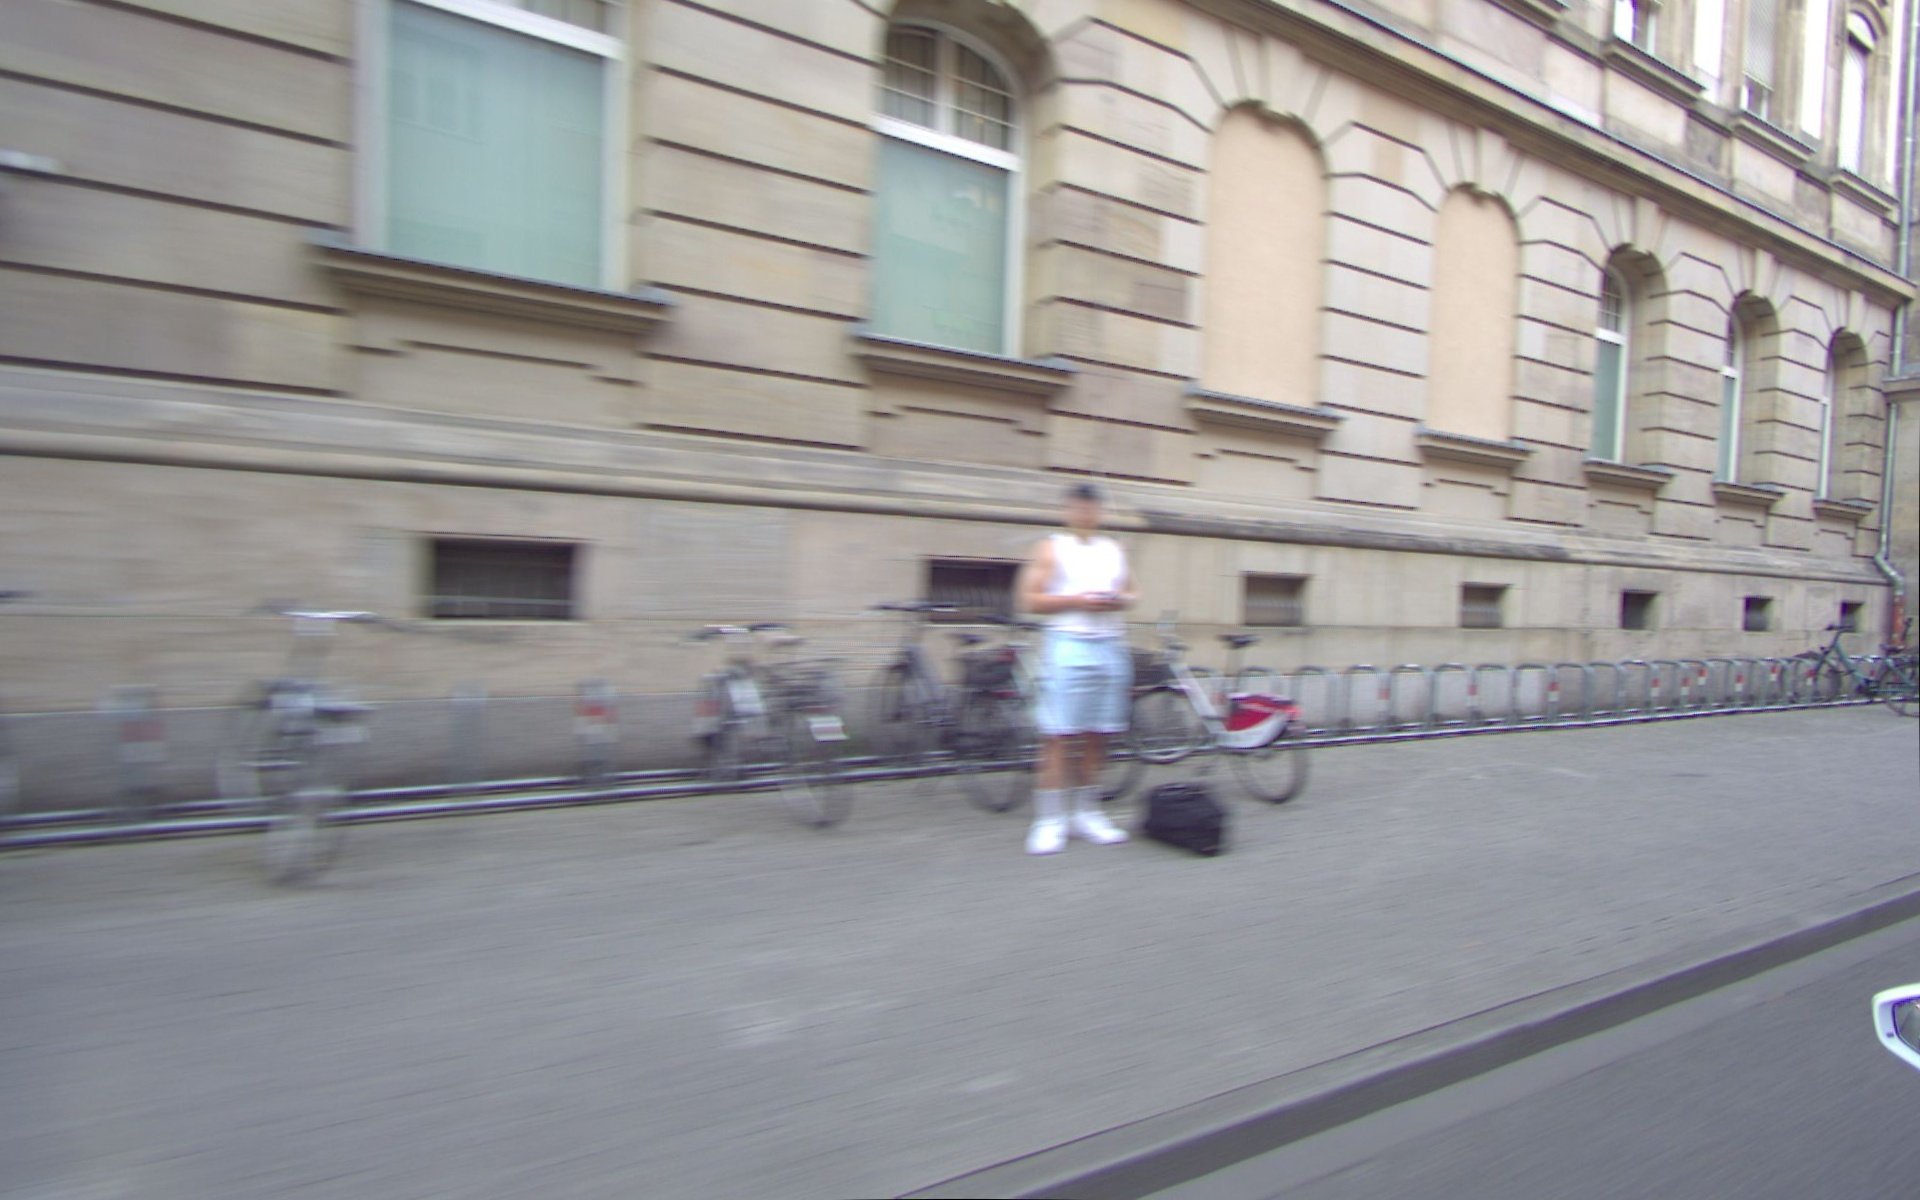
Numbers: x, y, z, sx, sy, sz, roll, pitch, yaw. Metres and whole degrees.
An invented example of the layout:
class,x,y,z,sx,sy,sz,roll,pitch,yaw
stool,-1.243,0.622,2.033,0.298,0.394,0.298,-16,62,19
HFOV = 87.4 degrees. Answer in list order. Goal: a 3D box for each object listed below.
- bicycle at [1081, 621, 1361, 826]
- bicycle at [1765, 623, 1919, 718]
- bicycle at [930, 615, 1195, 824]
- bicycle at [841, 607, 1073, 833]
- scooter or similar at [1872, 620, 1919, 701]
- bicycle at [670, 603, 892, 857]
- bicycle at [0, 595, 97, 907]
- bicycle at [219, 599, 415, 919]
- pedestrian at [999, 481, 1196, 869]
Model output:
class,x,y,z,sx,sy,sz,roll,pitch,yaw
bicycle,1.702,0.758,6.904,0.613,1.076,1.926,2,2,-31
bicycle,12.396,0.952,13.821,0.615,1.076,1.918,1,5,-44
bicycle,0.607,0.713,6.755,0.613,1.076,1.924,2,2,-35
bicycle,-0.088,0.668,6.350,0.495,1.122,1.782,2,2,-35
scooter or similar,15.428,0.978,16.071,0.493,1.249,1.122,0,3,-41
bicycle,-1.082,0.635,5.700,0.495,1.122,1.782,2,2,-35
bicycle,-4.016,0.566,3.929,0.612,1.076,1.927,2,2,-30
bicycle,-3.012,0.594,4.660,0.613,1.076,1.924,1,2,-35
pedestrian,0.718,0.354,5.282,0.747,1.876,0.584,1,3,-36
